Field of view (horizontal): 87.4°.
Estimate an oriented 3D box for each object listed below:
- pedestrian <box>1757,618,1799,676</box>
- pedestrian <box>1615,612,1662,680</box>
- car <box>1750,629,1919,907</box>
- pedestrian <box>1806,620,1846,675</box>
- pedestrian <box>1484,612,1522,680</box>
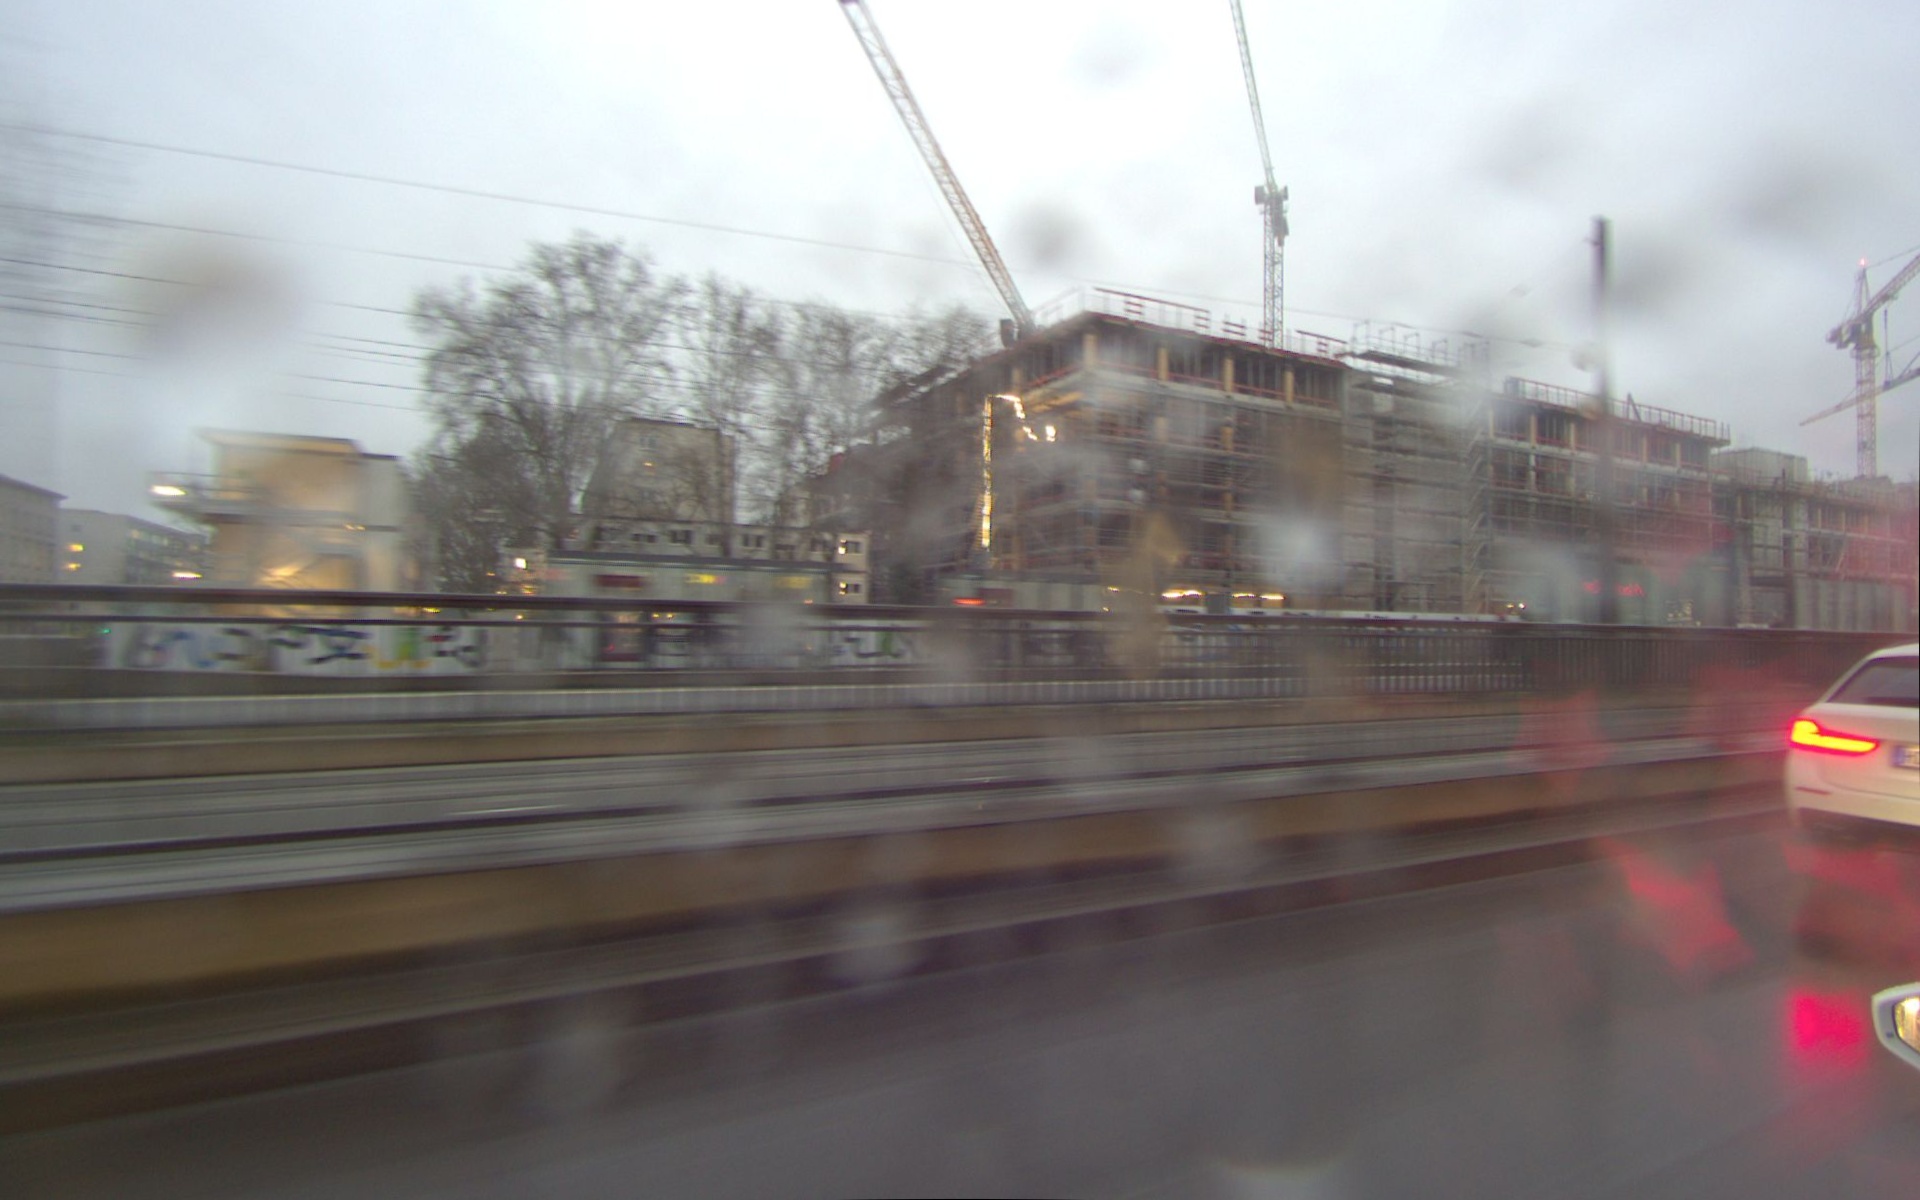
[{"bbox_3d":[22.676,1.294,27.849,0.728,1.571,0.583,1,-1,-18],"label":"pedestrian"},{"bbox_3d":[16.076,1.081,23.799,0.728,1.571,0.583,1,-1,-18],"label":"pedestrian"},{"bbox_3d":[7.378,0.981,6.536,4.888,1.485,1.843,2,-1,-30],"label":"car"},{"bbox_3d":[25.079,1.366,29.082,0.728,1.571,0.583,1,-1,-18],"label":"pedestrian"},{"bbox_3d":[12.869,1.075,23.815,0.572,1.588,0.544,1,-1,-9],"label":"pedestrian"}]
